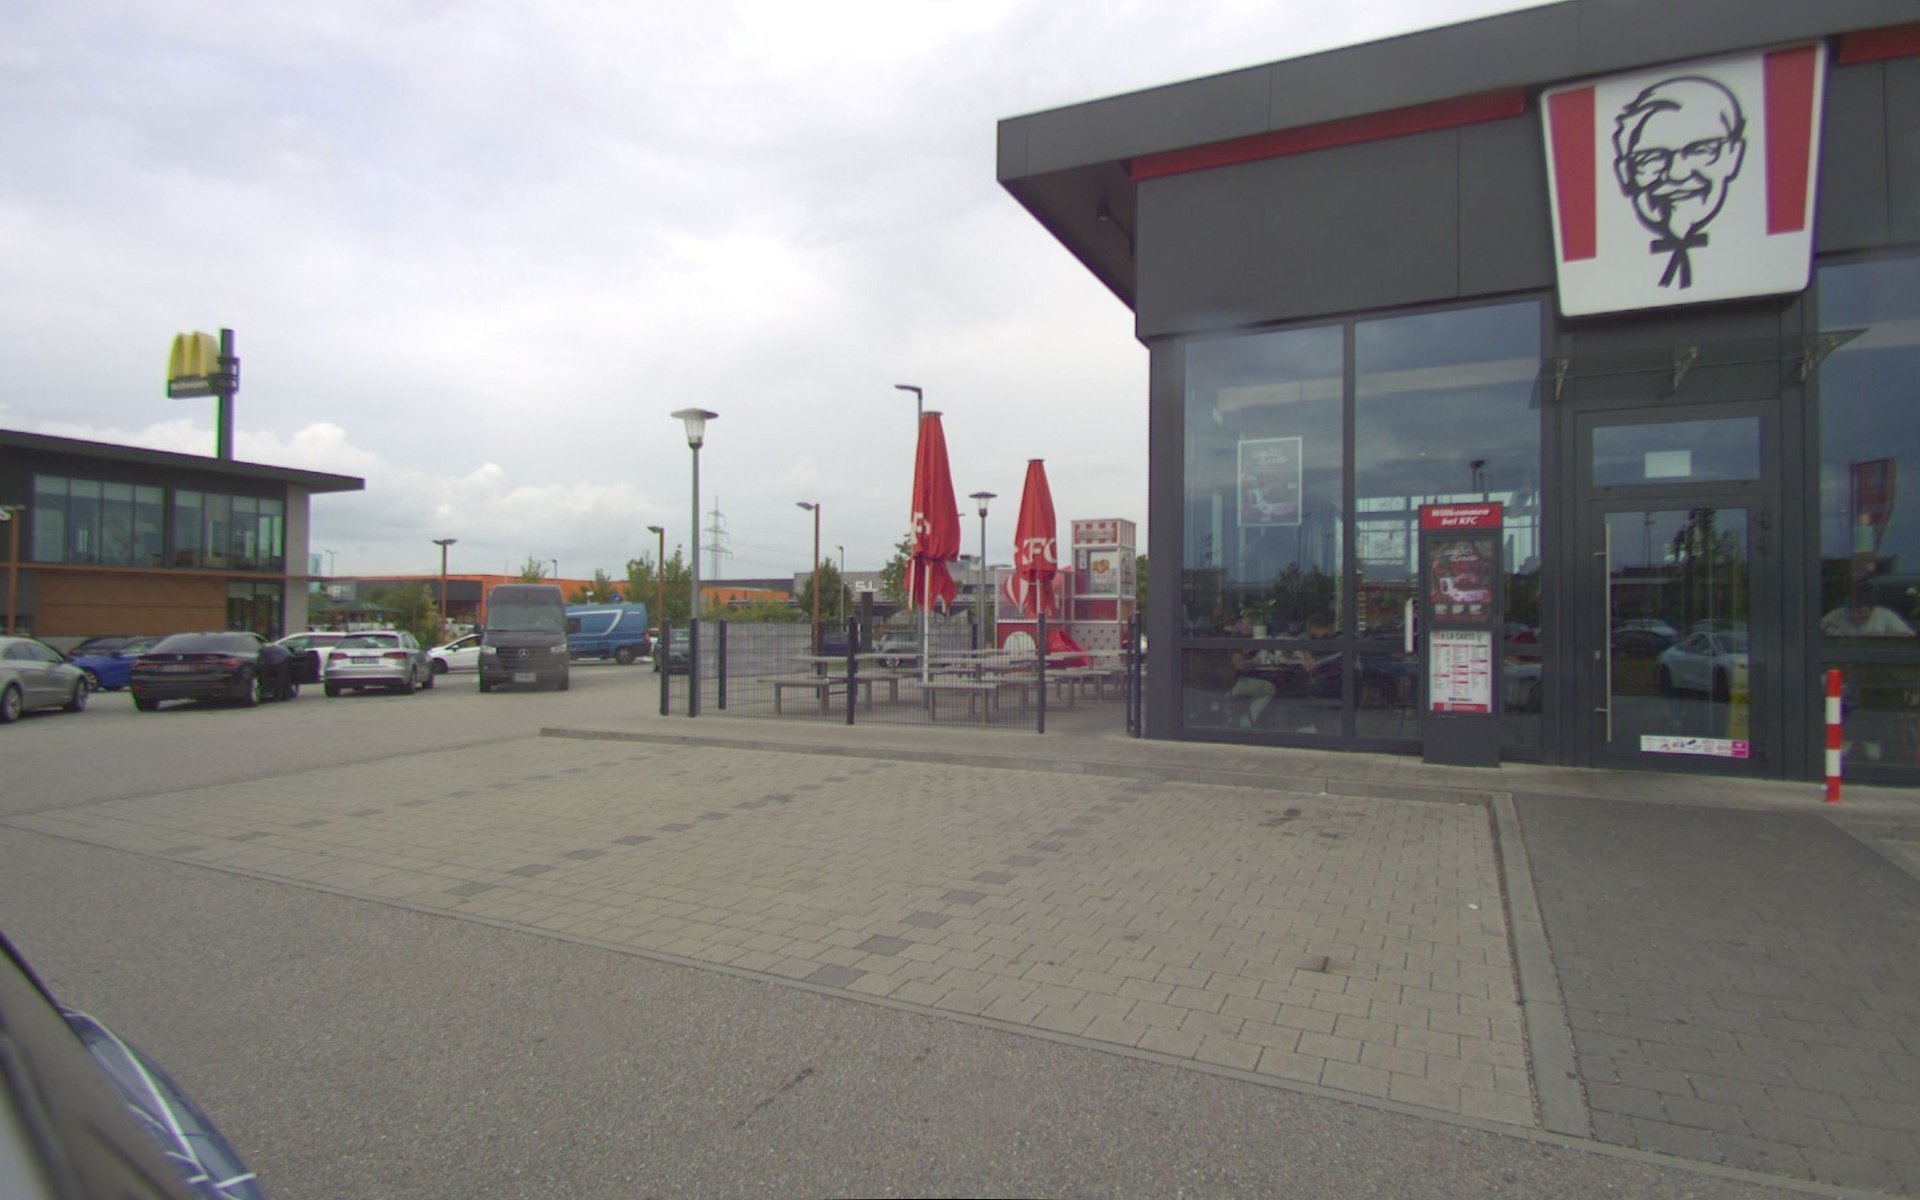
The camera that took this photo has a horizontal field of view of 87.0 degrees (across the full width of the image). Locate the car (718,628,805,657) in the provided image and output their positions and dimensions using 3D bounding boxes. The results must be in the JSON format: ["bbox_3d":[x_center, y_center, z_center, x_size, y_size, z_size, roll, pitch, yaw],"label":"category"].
[{"bbox_3d":[-11.119,2.392,56.763,4.453,1.565,2.055,-1,-2,25],"label":"car"}]

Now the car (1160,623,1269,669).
[{"bbox_3d":[11.139,2.004,44.278,4.314,1.902,1.929,0,-4,26],"label":"car"}]

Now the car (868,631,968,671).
[{"bbox_3d":[-1.603,1.937,38.299,3.468,1.386,1.614,2,-3,-14],"label":"car"}]

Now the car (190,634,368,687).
[{"bbox_3d":[-19.948,1.791,29.855,4.040,1.478,1.786,1,-4,-23],"label":"car"}]

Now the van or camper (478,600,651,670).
[{"bbox_3d":[-16.247,1.441,41.995,6.462,2.721,2.178,-1,-3,-15],"label":"van or camper"}]

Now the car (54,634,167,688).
[{"bbox_3d":[-30.464,2.142,36.439,1.865,1.674,4.273,2,-1,-23],"label":"car"}]

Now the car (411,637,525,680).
[{"bbox_3d":[-17.506,2.076,36.220,3.512,1.465,1.848,0,-3,-21],"label":"car"}]

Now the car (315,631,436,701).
[{"bbox_3d":[-13.522,1.522,23.644,1.658,1.462,4.012,3,-3,-19],"label":"car"}]

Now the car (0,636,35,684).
[{"bbox_3d":[-32.572,1.977,33.107,1.806,1.586,4.105,1,-2,-18],"label":"car"}]

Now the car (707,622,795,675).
[{"bbox_3d":[-7.556,1.727,36.141,1.965,1.741,4.912,2,-3,-25],"label":"car"}]

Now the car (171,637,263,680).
[{"bbox_3d":[-29.408,2.286,40.199,1.759,1.498,4.013,3,-1,-19],"label":"car"}]

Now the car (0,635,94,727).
[{"bbox_3d":[-16.251,1.318,16.694,1.723,1.423,4.474,0,-3,-24],"label":"car"}]

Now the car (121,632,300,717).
[{"bbox_3d":[-14.593,1.409,19.993,1.658,1.474,4.421,0,-3,-21],"label":"car"}]

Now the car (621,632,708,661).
[{"bbox_3d":[-17.521,2.746,60.018,4.921,1.614,2.054,0,-2,28],"label":"car"}]

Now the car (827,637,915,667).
[{"bbox_3d":[-4.767,2.743,53.875,4.437,1.470,1.816,-1,-2,29],"label":"car"}]

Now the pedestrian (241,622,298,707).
[{"bbox_3d":[-14.034,1.299,20.586,0.736,1.690,0.845,2,-3,-22],"label":"pedestrian"}]

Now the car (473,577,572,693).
[{"bbox_3d":[-11.247,0.941,26.176,2.037,2.573,7.035,0,-3,-23],"label":"car"}]

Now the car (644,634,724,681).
[{"bbox_3d":[-9.146,1.841,33.334,1.801,1.422,4.013,0,-2,-26],"label":"car"}]

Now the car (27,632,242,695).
[{"bbox_3d":[-21.505,1.680,26.564,3.931,1.521,1.775,2,-3,-18],"label":"car"}]
